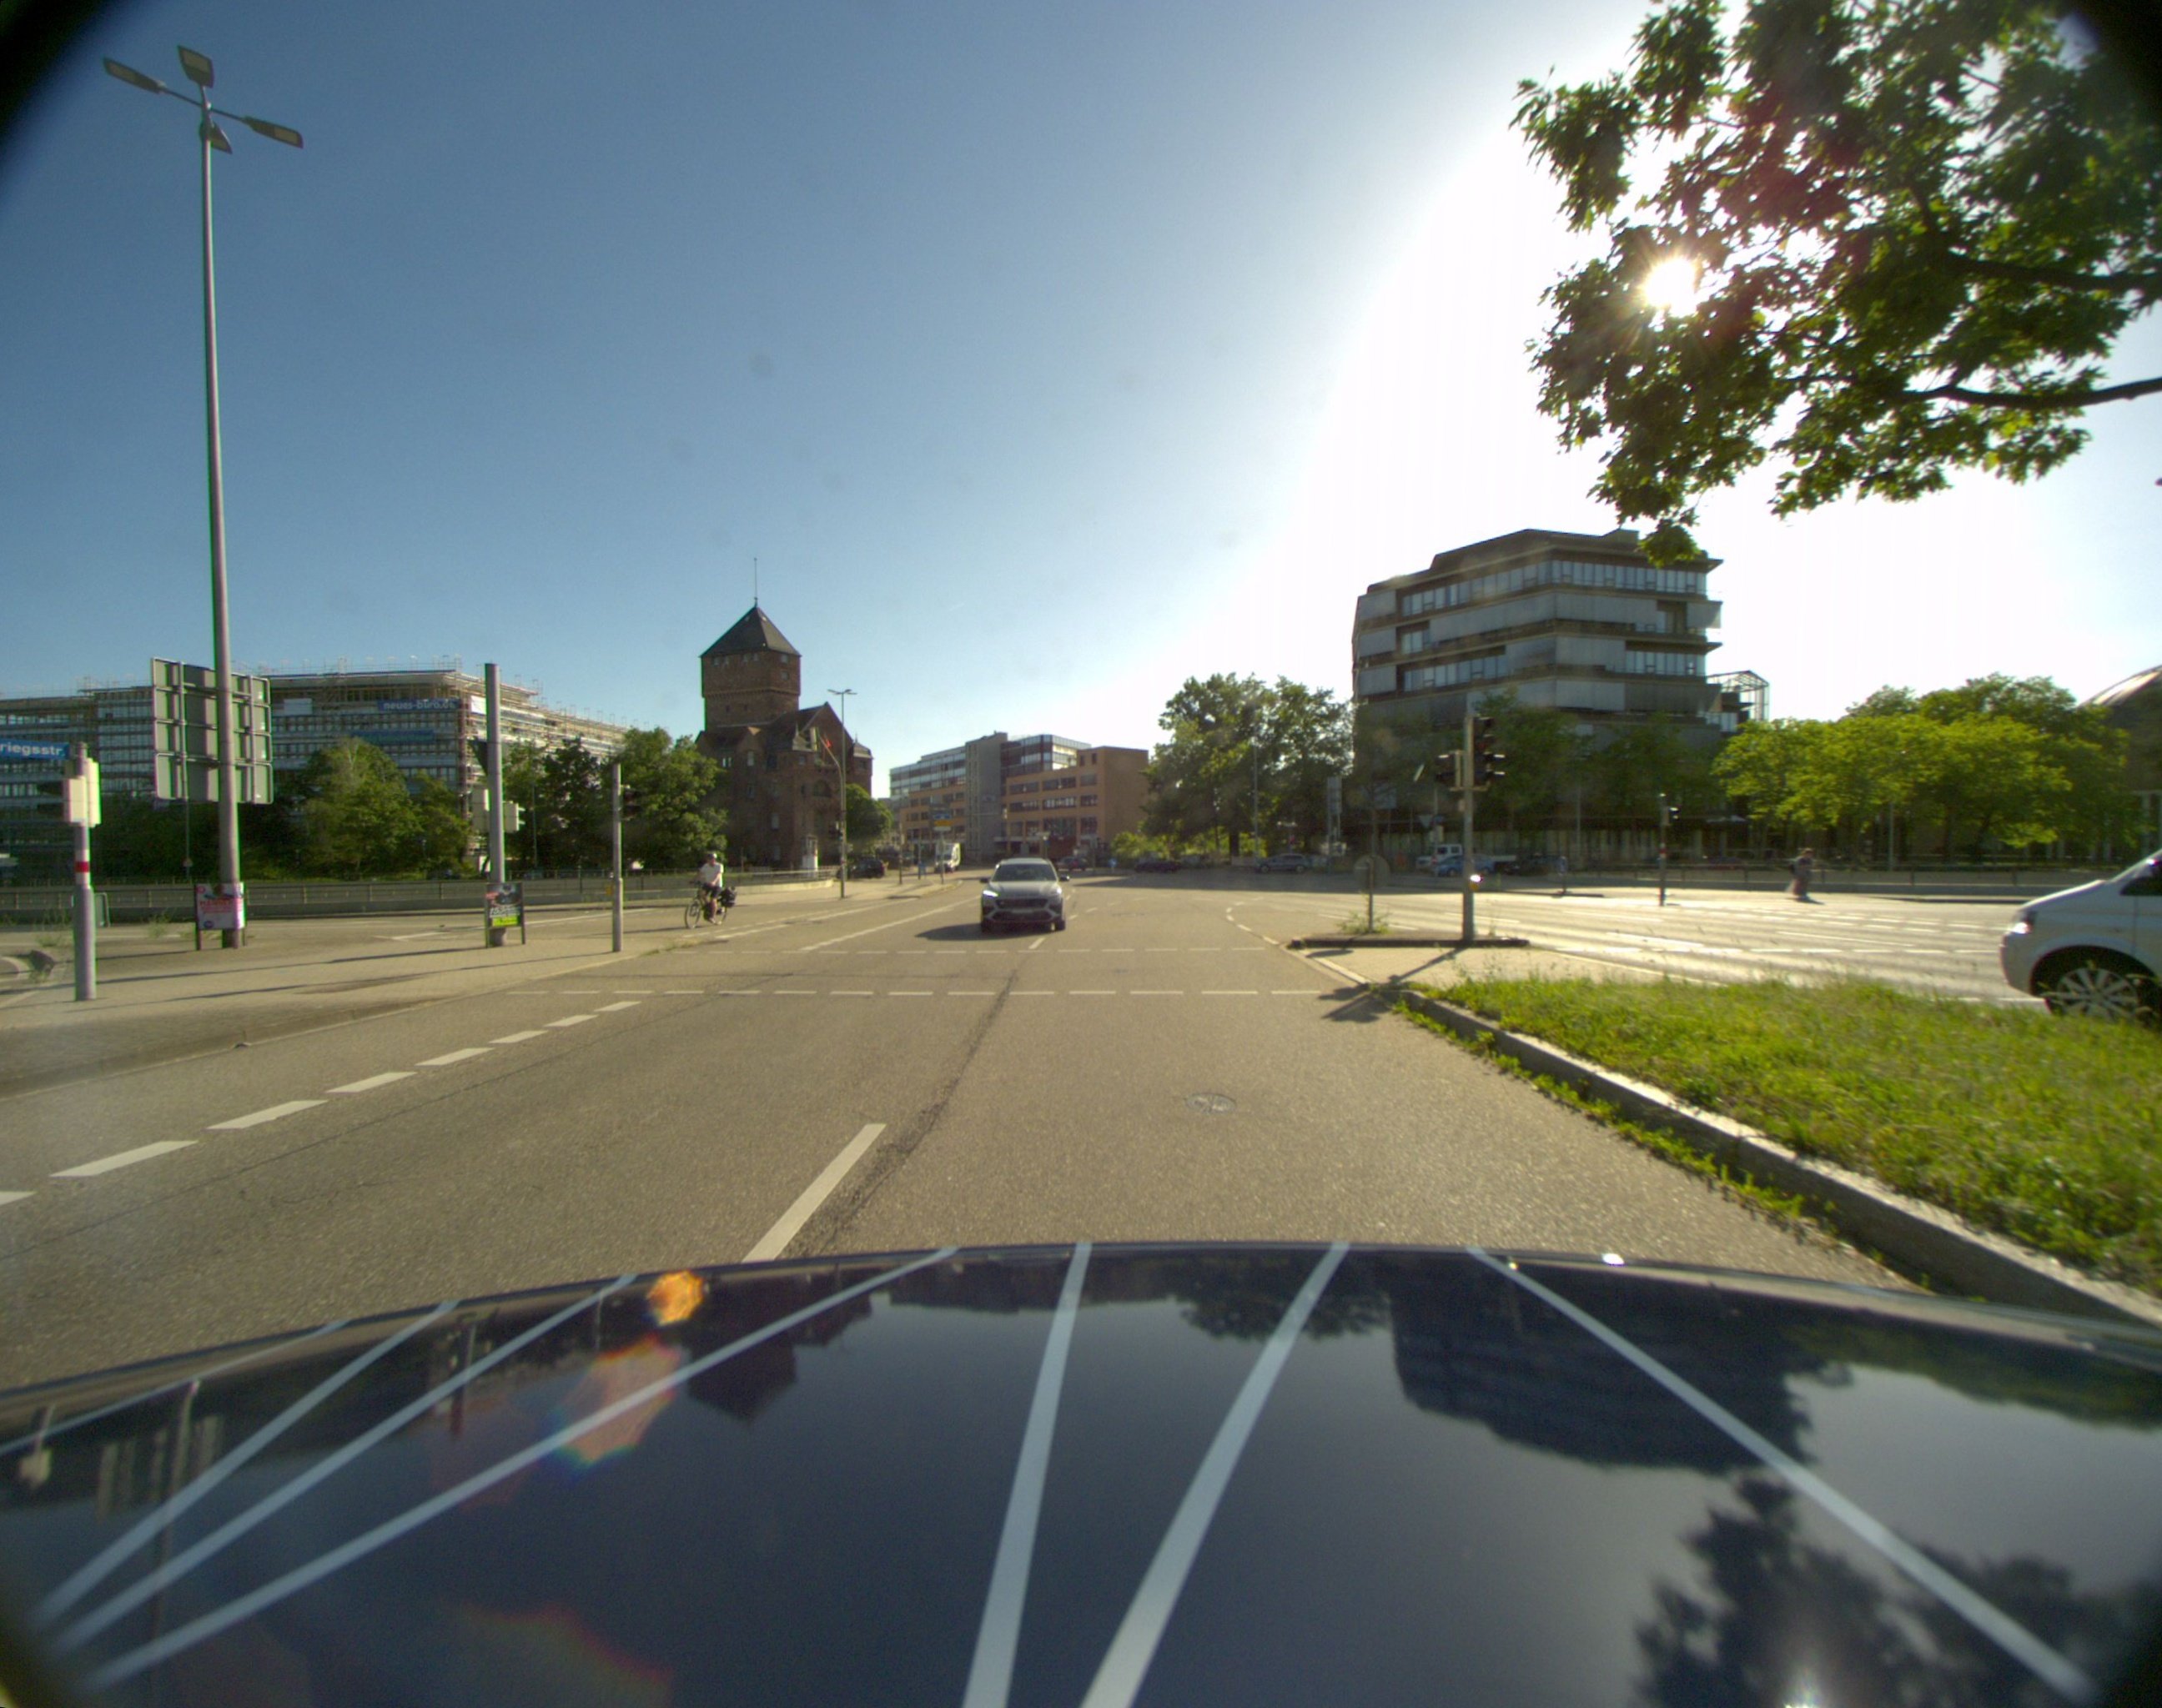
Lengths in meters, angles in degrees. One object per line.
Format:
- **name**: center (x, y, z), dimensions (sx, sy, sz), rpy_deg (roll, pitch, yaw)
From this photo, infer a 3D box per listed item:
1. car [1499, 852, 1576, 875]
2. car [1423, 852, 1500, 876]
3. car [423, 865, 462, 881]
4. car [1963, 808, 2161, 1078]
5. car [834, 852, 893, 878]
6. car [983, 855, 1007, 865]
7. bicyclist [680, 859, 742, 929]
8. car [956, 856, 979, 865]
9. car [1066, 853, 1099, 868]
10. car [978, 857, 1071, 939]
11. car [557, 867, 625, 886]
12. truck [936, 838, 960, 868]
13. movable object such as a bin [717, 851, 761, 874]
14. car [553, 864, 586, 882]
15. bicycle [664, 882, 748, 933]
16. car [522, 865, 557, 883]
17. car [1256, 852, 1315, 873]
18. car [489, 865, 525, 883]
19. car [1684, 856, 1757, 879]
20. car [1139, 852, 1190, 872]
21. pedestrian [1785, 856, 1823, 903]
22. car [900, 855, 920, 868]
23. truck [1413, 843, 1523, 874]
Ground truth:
- **car**: center (32.172, 0.652, 53.618), dimensions (4.458, 1.532, 1.950), rpy_deg (-1, 1, -9)
- **car**: center (26.342, 0.684, 52.675), dimensions (4.458, 1.532, 1.950), rpy_deg (-1, 1, -9)
- **car**: center (-61.713, 1.794, 73.471), dimensions (2.003, 1.445, 3.773), rpy_deg (-1, 0, -26)
- **car**: center (9.032, 0.649, 4.403), dimensions (1.942, 1.996, 4.929), rpy_deg (-1, 0, -4)
- **car**: center (-19.936, 0.947, 69.878), dimensions (4.794, 2.248, 1.946), rpy_deg (-1, 1, -39)
- **car**: center (-13.214, 0.952, 117.058), dimensions (1.642, 1.515, 4.149), rpy_deg (-1, 1, -40)
- **bicyclist**: center (-9.175, 0.971, 18.868), dimensions (0.725, 1.650, 1.114), rpy_deg (-1, 1, 21)
- **car**: center (-18.384, 1.030, 123.165), dimensions (1.884, 1.515, 4.149), rpy_deg (-1, 1, -37)
- **car**: center (0.126, 0.718, 78.805), dimensions (1.882, 1.349, 4.503), rpy_deg (1, -4, -23)
- **car**: center (-1.184, 0.917, 17.803), dimensions (1.879, 1.612, 4.196), rpy_deg (0, 1, 0)
- **car**: center (-41.092, 1.880, 63.821), dimensions (4.629, 1.462, 1.881), rpy_deg (0, 1, 7)
- **truck**: center (-14.844, -0.124, 84.891), dimensions (2.505, 3.110, 6.953), rpy_deg (-1, 1, -10)
- **movable object such as a bin**: center (-36.489, 0.944, 81.123), dimensions (3.991, 2.395, 2.003), rpy_deg (-1, 1, 19)
- **car**: center (-47.345, 1.734, 70.460), dimensions (2.003, 1.552, 3.773), rpy_deg (-1, 0, -26)
- **bicycle**: center (-9.217, 1.297, 18.765), dimensions (0.692, 1.095, 1.829), rpy_deg (-1, 1, 21)
- **car**: center (-50.499, 1.843, 70.931), dimensions (2.003, 1.552, 3.773), rpy_deg (-1, 0, -26)
- **car**: center (16.685, 0.667, 62.079), dimensions (4.502, 1.635, 1.881), rpy_deg (-1, 1, 10)
- **car**: center (-54.202, 1.851, 71.844), dimensions (2.003, 1.552, 3.773), rpy_deg (-1, 0, -26)
- **car**: center (50.232, 1.078, 59.698), dimensions (4.193, 1.690, 1.815), rpy_deg (-1, 1, 0)
- **car**: center (7.404, 0.726, 67.385), dimensions (4.184, 1.690, 1.819), rpy_deg (0, 1, 39)
- **pedestrian**: center (22.946, 0.791, 24.121), dimensions (0.682, 1.454, 0.701), rpy_deg (0, 1, -31)
- **car**: center (-24.992, 1.092, 111.069), dimensions (1.760, 1.749, 4.775), rpy_deg (-1, 1, -26)
- **truck**: center (30.772, 0.334, 60.602), dimensions (7.507, 2.346, 2.164), rpy_deg (-1, 1, 4)
